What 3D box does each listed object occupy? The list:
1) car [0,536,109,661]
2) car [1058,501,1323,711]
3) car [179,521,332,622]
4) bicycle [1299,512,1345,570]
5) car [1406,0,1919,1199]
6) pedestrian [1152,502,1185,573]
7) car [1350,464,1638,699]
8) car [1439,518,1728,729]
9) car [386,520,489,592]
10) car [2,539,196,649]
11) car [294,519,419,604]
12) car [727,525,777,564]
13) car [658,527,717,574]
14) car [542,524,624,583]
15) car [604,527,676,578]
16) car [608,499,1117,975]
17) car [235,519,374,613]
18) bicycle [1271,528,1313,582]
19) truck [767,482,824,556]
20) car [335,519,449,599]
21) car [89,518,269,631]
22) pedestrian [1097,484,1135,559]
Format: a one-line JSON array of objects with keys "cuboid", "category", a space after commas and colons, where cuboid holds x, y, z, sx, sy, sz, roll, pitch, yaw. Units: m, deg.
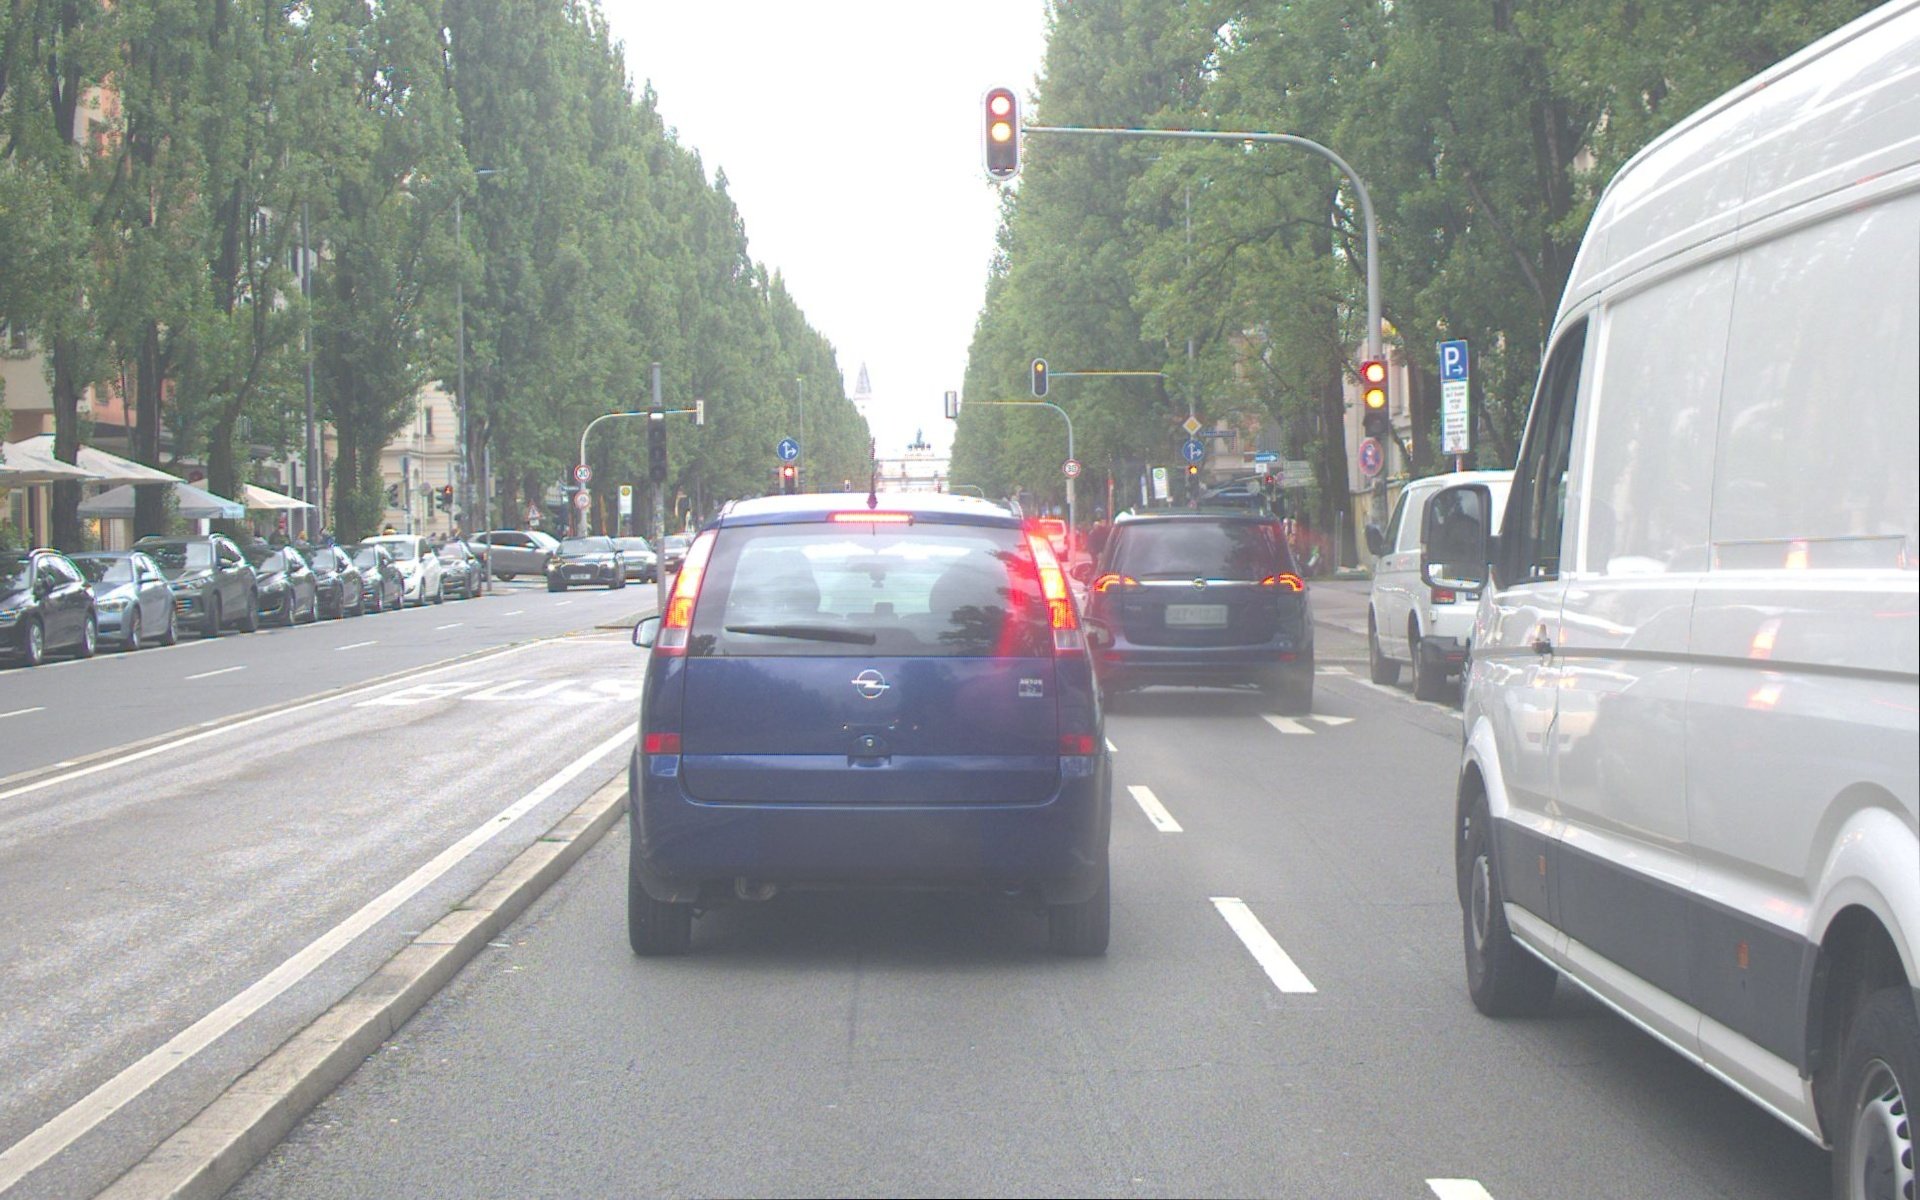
[{"cuboid": [-12.318, -0.026, 43.907, 1.798, 1.483, 4.351, -2, 1, -1], "category": "car"}, {"cuboid": [1.833, -0.001, 28.500, 1.896, 1.616, 4.000, 0, 1, 0], "category": "car"}, {"cuboid": [-12.563, -0.543, 61.549, 1.866, 1.660, 4.120, -2, 1, -1], "category": "car"}, {"cuboid": [8.592, -1.398, 81.635, 0.772, 1.344, 2.449, -1, 1, -1], "category": "bicycle"}, {"cuboid": [2.538, 0.076, 8.064, 2.063, 2.484, 6.731, 0, 1, 0], "category": "car"}, {"cuboid": [5.405, -1.607, 89.068, 0.636, 1.820, 0.888, 1, 1, -10], "category": "pedestrian"}, {"cuboid": [4.688, -0.213, 30.823, 1.787, 1.939, 4.731, 0, 1, -1], "category": "car"}, {"cuboid": [4.628, 0.131, 25.936, 1.541, 1.487, 3.523, 0, 1, 0], "category": "car"}, {"cuboid": [-12.800, -1.101, 84.435, 1.866, 1.660, 4.120, -2, 1, -1], "category": "car"}, {"cuboid": [-12.353, -0.124, 49.571, 1.733, 1.421, 4.144, -2, 1, -1], "category": "car"}, {"cuboid": [-12.583, -0.831, 71.900, 1.866, 1.660, 4.120, -2, 1, -1], "category": "car"}, {"cuboid": [-7.966, -2.136, 131.761, 1.735, 1.460, 3.365, -1, 1, -1], "category": "car"}, {"cuboid": [-10.040, -1.857, 127.055, 1.866, 1.660, 4.120, -1, 1, -1], "category": "car"}, {"cuboid": [-10.157, -1.275, 92.941, 1.697, 1.457, 4.713, -2, 1, -1], "category": "car"}, {"cuboid": [-9.589, -1.441, 103.190, 1.745, 1.429, 4.130, -2, 1, -1], "category": "car"}, {"cuboid": [-0.334, 0.404, 13.290, 1.671, 1.563, 4.000, 0, 1, 0], "category": "car"}, {"cuboid": [-12.620, -0.684, 66.375, 1.866, 1.660, 4.120, -2, 1, -1], "category": "car"}, {"cuboid": [8.461, -1.153, 87.762, 0.772, 1.344, 2.449, -1, 1, -1], "category": "bicycle"}, {"cuboid": [-7.670, -3.780, 160.830, 2.383, 3.335, 7.111, -1, 1, -1], "category": "truck"}, {"cuboid": [-12.715, -0.936, 77.161, 1.866, 1.660, 4.120, -2, 1, -1], "category": "car"}, {"cuboid": [-12.483, -0.448, 55.192, 1.866, 1.660, 4.401, -2, 1, -1], "category": "car"}, {"cuboid": [3.830, -1.922, 84.427, 0.719, 1.820, 0.888, 1, 1, -10], "category": "pedestrian"}]
